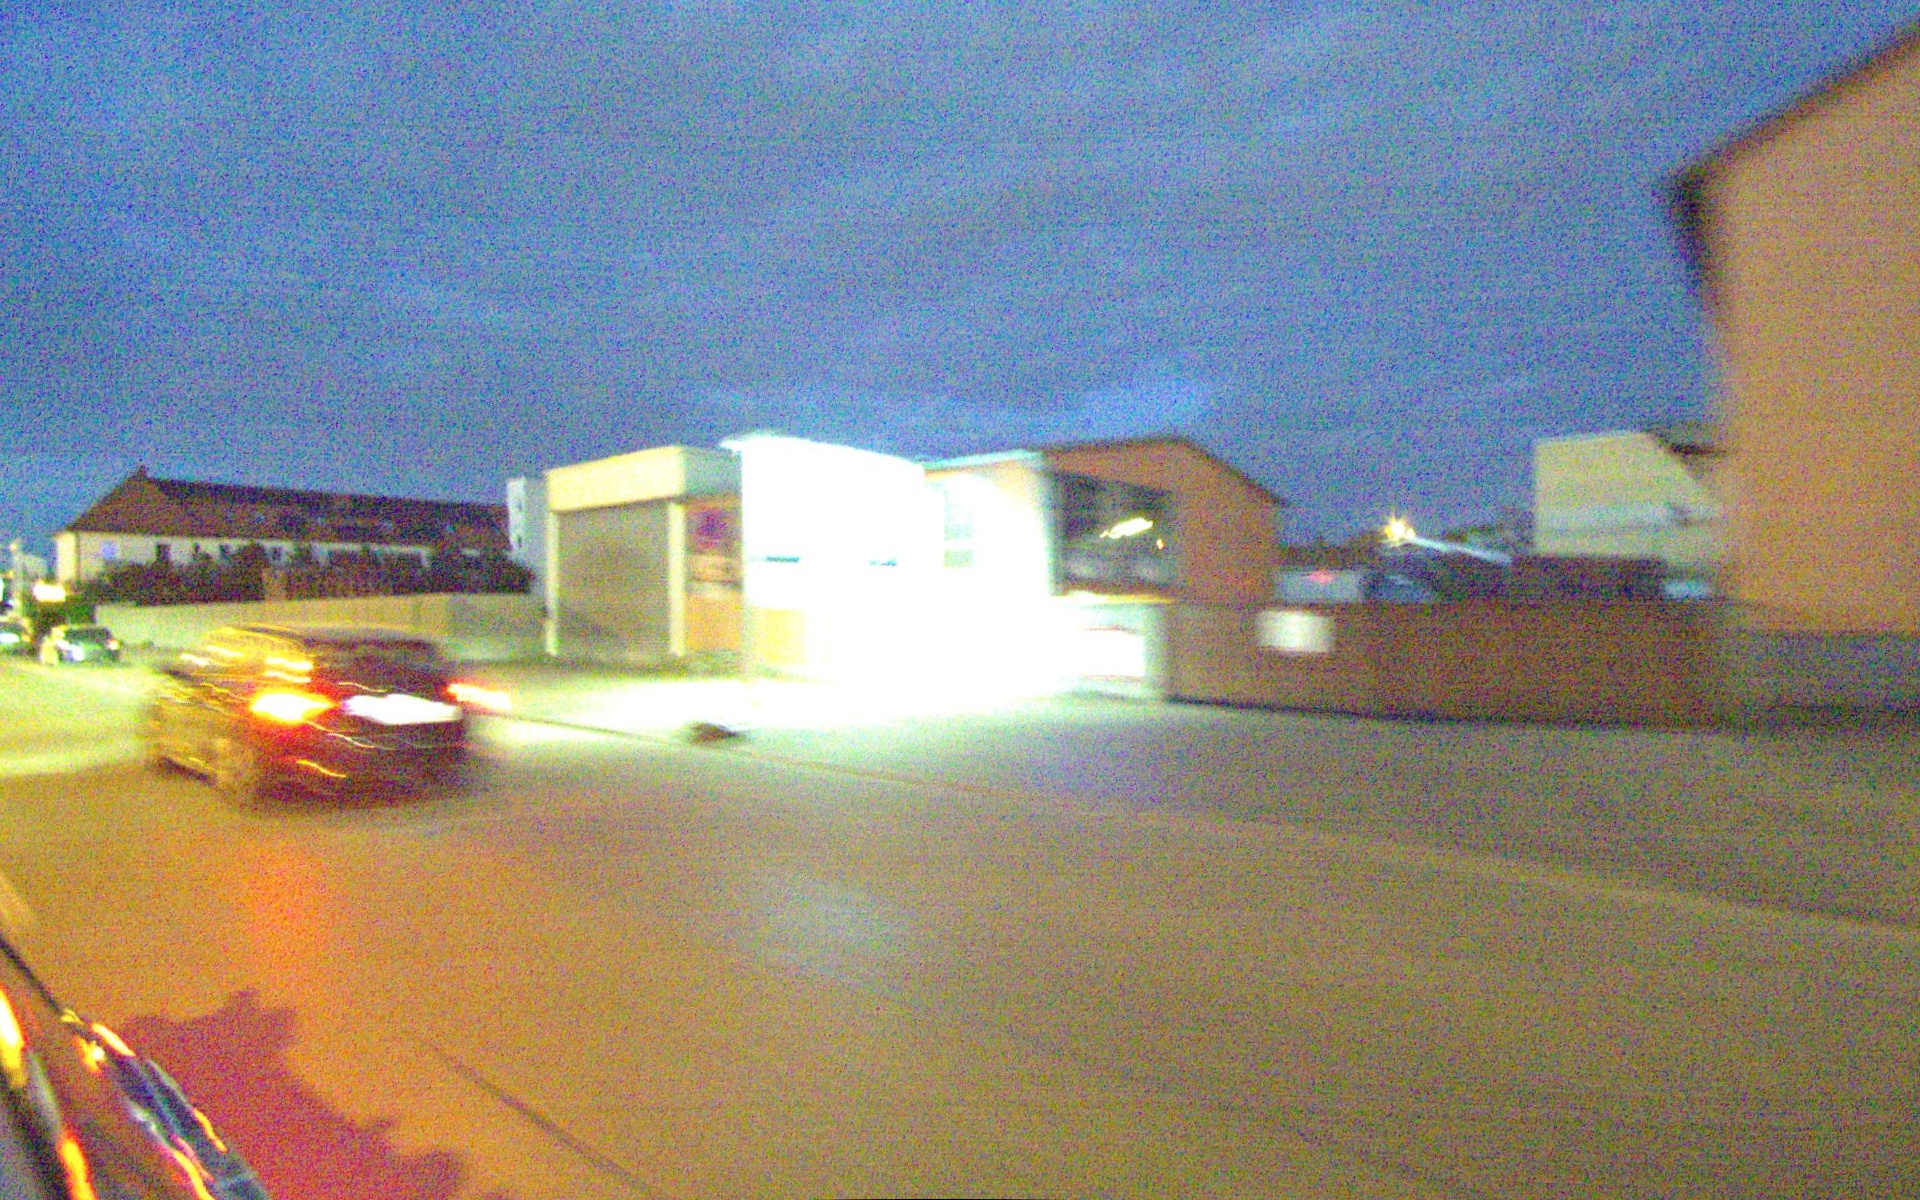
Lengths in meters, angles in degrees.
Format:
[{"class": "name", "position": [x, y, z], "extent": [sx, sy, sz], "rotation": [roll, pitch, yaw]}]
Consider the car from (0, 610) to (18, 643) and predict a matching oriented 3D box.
[{"class": "car", "position": [-48.730, 1.340, 50.967], "extent": [3.780, 1.612, 1.570], "rotation": [0, 0, 42]}]

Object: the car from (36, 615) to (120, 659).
[{"class": "car", "position": [-30.467, 1.242, 34.930], "extent": [4.308, 1.401, 1.737], "rotation": [-1, -1, 43]}]

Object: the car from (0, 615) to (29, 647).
[{"class": "car", "position": [-44.668, 1.438, 47.036], "extent": [3.878, 1.375, 1.668], "rotation": [0, 0, 42]}]

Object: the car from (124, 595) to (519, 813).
[{"class": "car", "position": [-5.756, 0.731, 8.877], "extent": [4.397, 1.448, 1.801], "rotation": [-1, -1, 42]}]
